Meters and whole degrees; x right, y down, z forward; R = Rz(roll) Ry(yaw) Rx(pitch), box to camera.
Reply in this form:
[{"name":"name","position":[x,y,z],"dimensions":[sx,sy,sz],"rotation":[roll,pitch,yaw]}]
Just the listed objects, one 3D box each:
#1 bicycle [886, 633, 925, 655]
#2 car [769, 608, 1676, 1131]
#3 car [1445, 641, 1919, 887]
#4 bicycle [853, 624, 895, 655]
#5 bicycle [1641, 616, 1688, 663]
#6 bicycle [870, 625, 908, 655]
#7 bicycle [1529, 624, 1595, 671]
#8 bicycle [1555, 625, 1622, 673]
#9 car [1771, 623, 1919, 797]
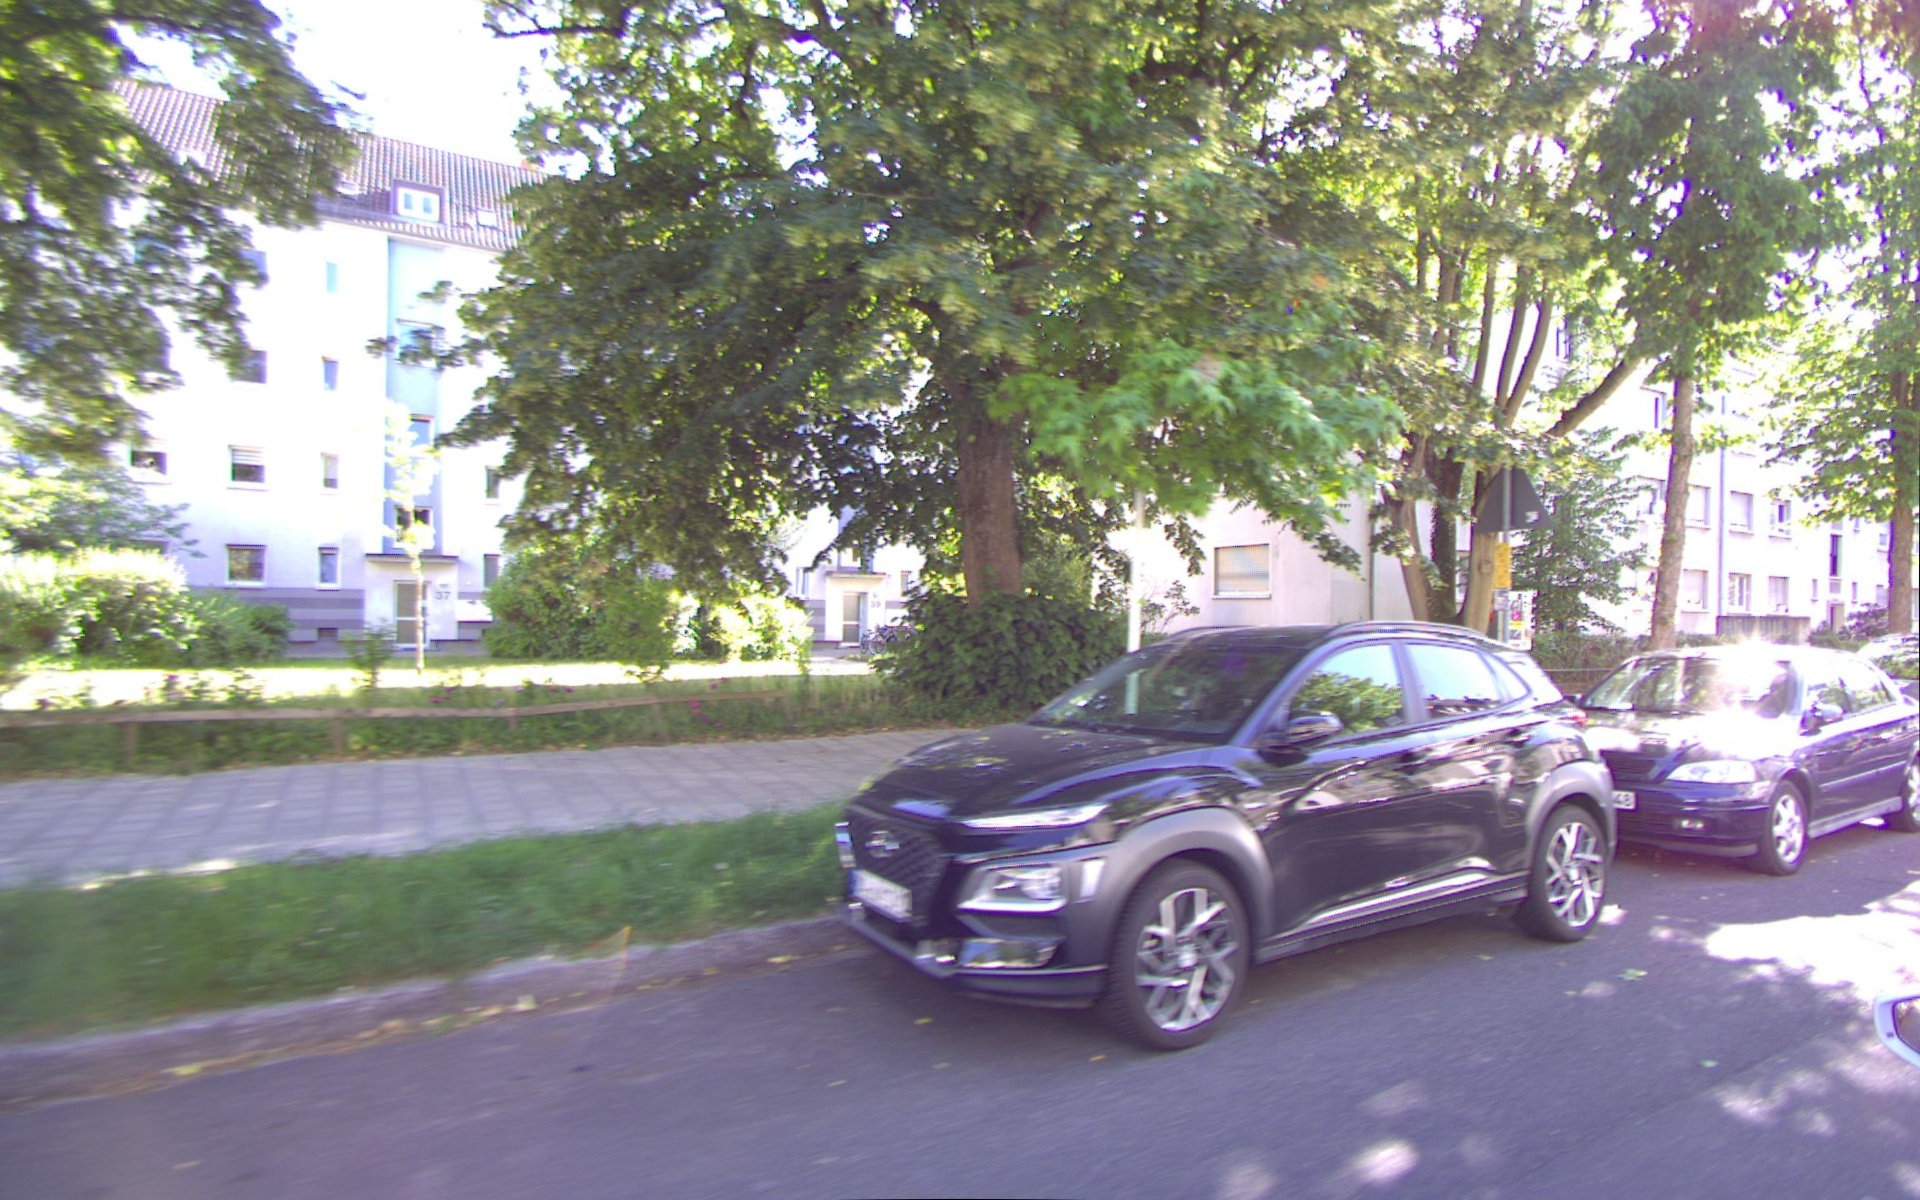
[{"name":"bicycle","position":[-2.083,1.668,38.161],"dimensions":[0.556,0.785,1.948],"rotation":[1,-1,-33]},{"name":"car","position":[1.464,0.883,4.941],"dimensions":[4.429,1.598,1.698],"rotation":[1,-1,-30]},{"name":"car","position":[5.826,1.013,7.689],"dimensions":[4.432,1.370,1.775],"rotation":[1,-2,-32]},{"name":"bicycle","position":[-3.220,1.454,37.342],"dimensions":[0.720,1.066,1.948],"rotation":[1,-1,-34]},{"name":"bicycle","position":[20.028,1.118,28.539],"dimensions":[1.892,1.306,0.396],"rotation":[1,-1,-32]},{"name":"bicycle","position":[-2.677,1.495,37.780],"dimensions":[0.556,1.066,1.948],"rotation":[1,-1,-33]},{"name":"bicycle","position":[16.415,1.290,27.389],"dimensions":[1.888,1.217,0.683],"rotation":[1,-1,-29]},{"name":"bicycle","position":[16.747,1.297,26.767],"dimensions":[1.888,1.217,0.683],"rotation":[1,-1,-29]},{"name":"car","position":[10.451,1.051,10.410],"dimensions":[4.367,1.551,1.761],"rotation":[1,-1,-30]}]
